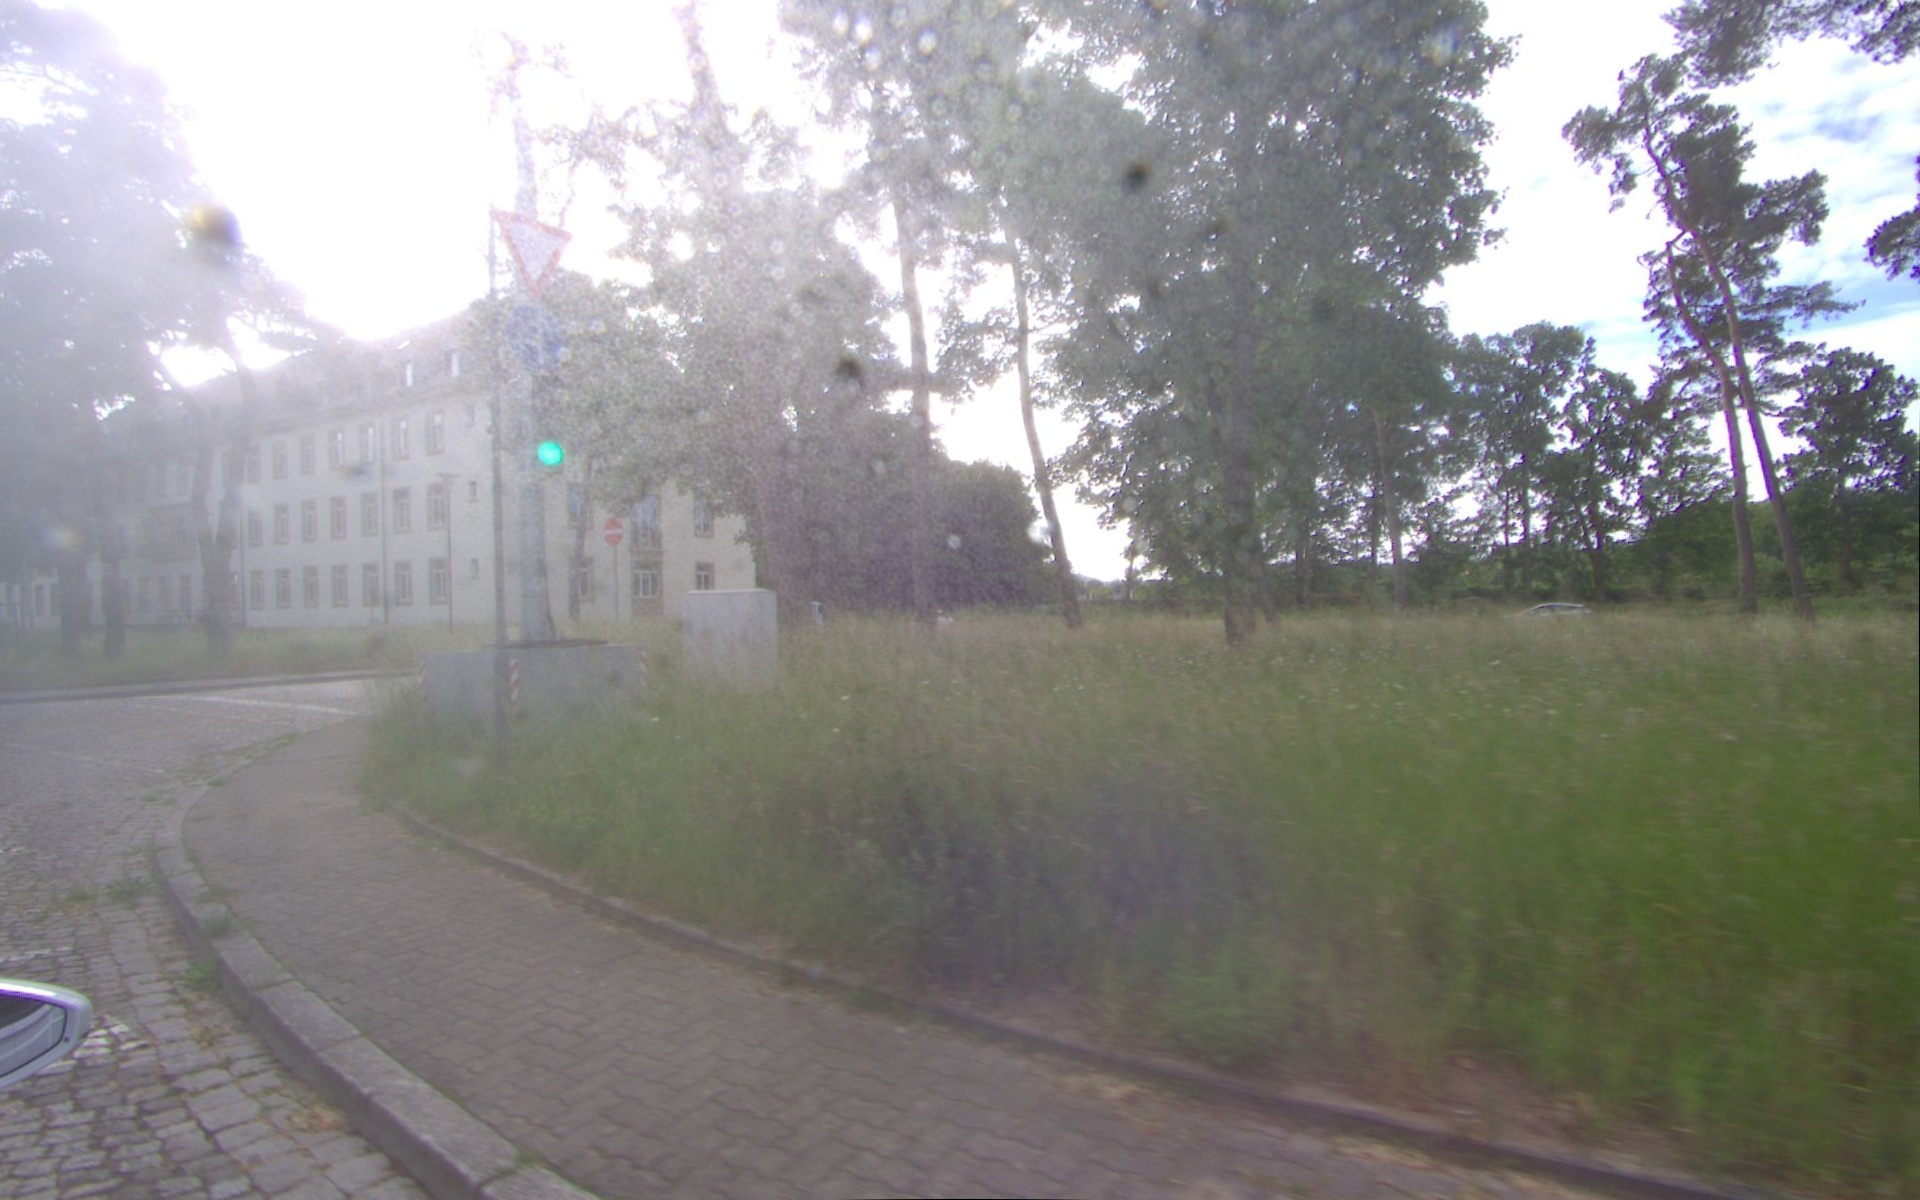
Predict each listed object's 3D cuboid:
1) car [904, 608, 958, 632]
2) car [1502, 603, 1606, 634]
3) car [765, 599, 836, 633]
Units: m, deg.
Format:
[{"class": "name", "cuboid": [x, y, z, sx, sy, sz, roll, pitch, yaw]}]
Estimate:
[{"class": "car", "cuboid": [-1.915, 1.332, 66.840, 1.971, 1.527, 3.475, -1, 0, 32]}, {"class": "car", "cuboid": [29.060, 0.896, 49.121, 4.189, 1.434, 1.881, -1, 0, 26]}, {"class": "car", "cuboid": [-11.377, 1.129, 71.735, 2.182, 2.318, 5.170, -1, 0, 32]}]
